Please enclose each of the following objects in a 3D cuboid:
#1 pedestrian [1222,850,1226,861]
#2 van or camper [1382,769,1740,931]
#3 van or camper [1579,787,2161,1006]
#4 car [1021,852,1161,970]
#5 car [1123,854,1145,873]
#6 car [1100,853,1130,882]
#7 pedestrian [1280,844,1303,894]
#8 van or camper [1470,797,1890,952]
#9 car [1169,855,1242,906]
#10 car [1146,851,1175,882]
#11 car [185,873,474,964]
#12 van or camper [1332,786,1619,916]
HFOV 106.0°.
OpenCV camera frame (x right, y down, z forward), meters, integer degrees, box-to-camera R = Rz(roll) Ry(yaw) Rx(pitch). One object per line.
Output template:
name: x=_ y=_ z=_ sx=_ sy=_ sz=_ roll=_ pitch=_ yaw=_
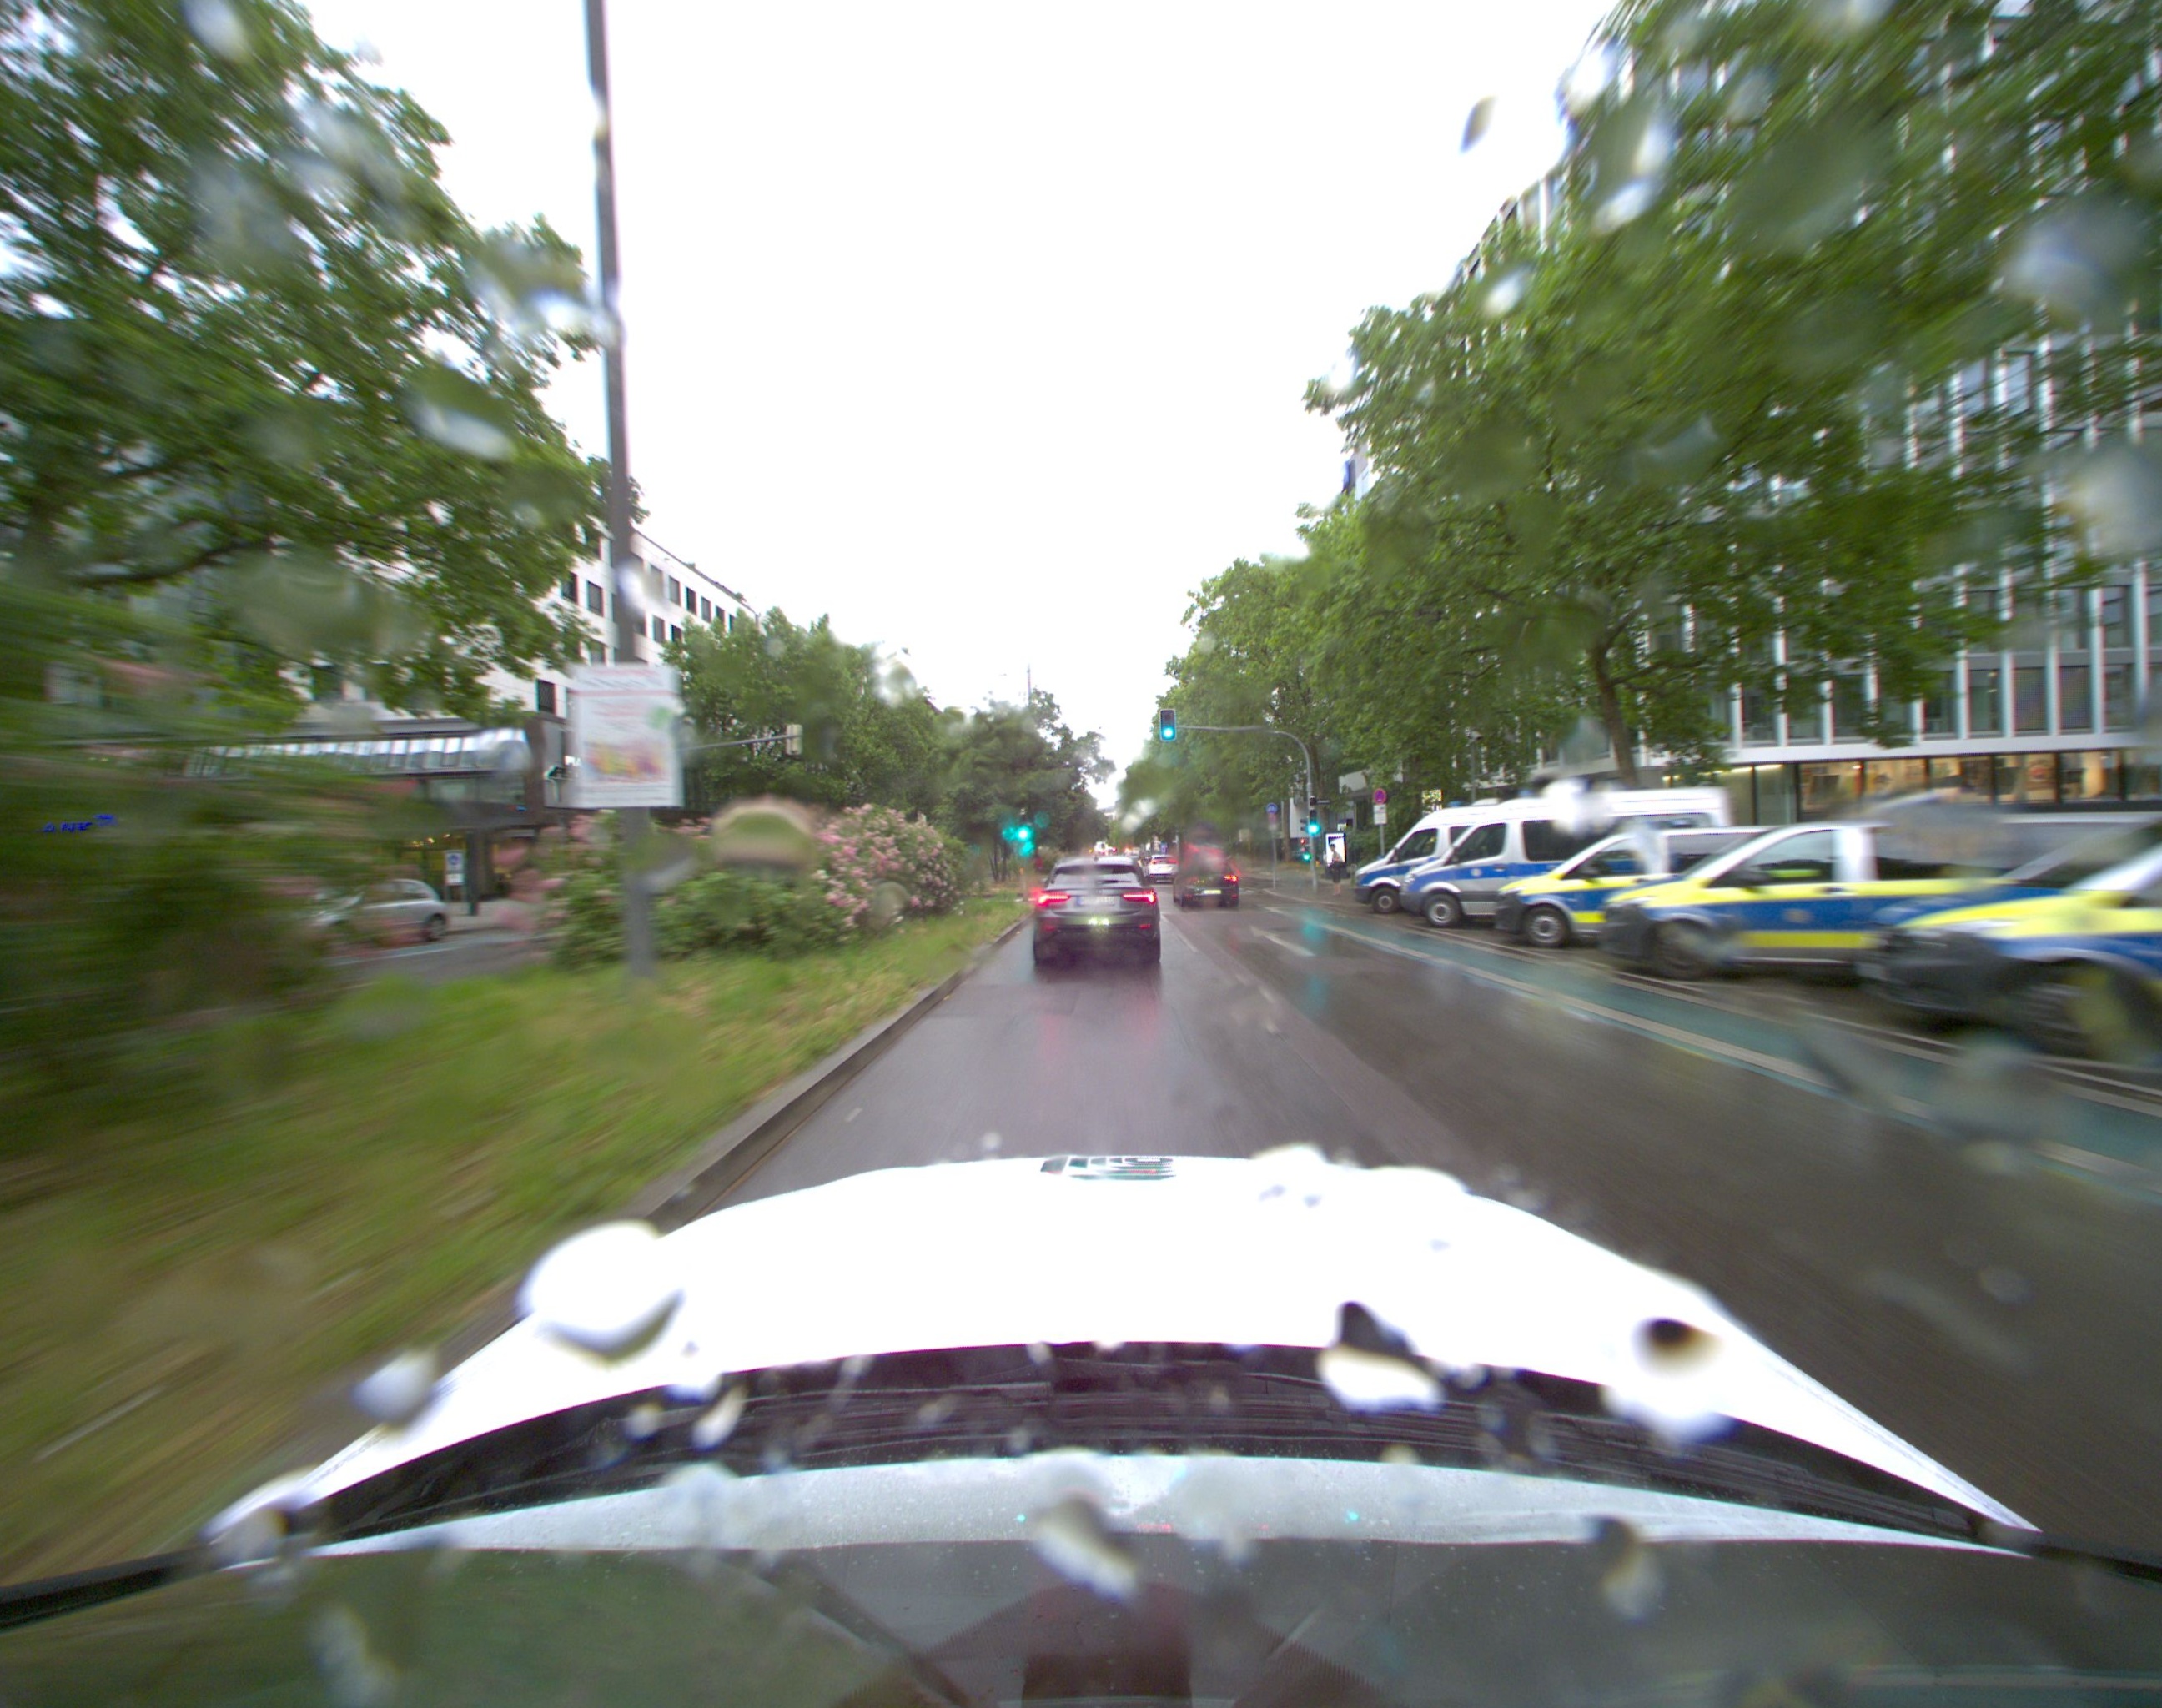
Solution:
pedestrian: x=25.020 y=0.234 z=142.558 sx=0.648 sy=1.816 sz=0.656 roll=-2 pitch=0 yaw=1
van or camper: x=9.210 y=-0.004 z=16.056 sx=5.736 sy=2.680 sz=2.013 roll=-2 pitch=0 yaw=37
van or camper: x=8.843 y=0.415 z=9.379 sx=5.142 sy=1.992 sz=2.013 roll=-1 pitch=-1 yaw=36
car: x=0.248 y=0.773 z=13.256 sx=1.855 sy=1.532 sz=4.530 roll=-2 pitch=0 yaw=3
car: x=5.266 y=0.942 z=80.730 sx=1.986 sy=1.750 sz=4.002 roll=-2 pitch=0 yaw=2
car: x=2.041 y=0.785 z=49.448 sx=1.715 sy=1.577 sz=3.963 roll=-2 pitch=0 yaw=1
pedestrian: x=7.830 y=0.553 z=30.247 sx=0.605 sy=1.831 sz=0.563 roll=-2 pitch=0 yaw=-8
van or camper: x=9.082 y=0.341 z=12.864 sx=4.952 sy=2.014 sz=2.013 roll=-2 pitch=-2 yaw=37
car: x=3.856 y=0.769 z=25.831 sx=1.759 sy=1.413 sz=4.001 roll=-2 pitch=0 yaw=1
car: x=4.563 y=0.711 z=46.889 sx=1.428 sy=1.685 sz=2.980 roll=-2 pitch=0 yaw=2
car: x=-15.777 y=1.259 z=17.539 sx=1.987 sy=1.509 sz=4.517 roll=-2 pitch=0 yaw=0
van or camper: x=9.218 y=-0.017 z=19.385 sx=5.741 sy=2.677 sz=2.161 roll=-2 pitch=0 yaw=39
